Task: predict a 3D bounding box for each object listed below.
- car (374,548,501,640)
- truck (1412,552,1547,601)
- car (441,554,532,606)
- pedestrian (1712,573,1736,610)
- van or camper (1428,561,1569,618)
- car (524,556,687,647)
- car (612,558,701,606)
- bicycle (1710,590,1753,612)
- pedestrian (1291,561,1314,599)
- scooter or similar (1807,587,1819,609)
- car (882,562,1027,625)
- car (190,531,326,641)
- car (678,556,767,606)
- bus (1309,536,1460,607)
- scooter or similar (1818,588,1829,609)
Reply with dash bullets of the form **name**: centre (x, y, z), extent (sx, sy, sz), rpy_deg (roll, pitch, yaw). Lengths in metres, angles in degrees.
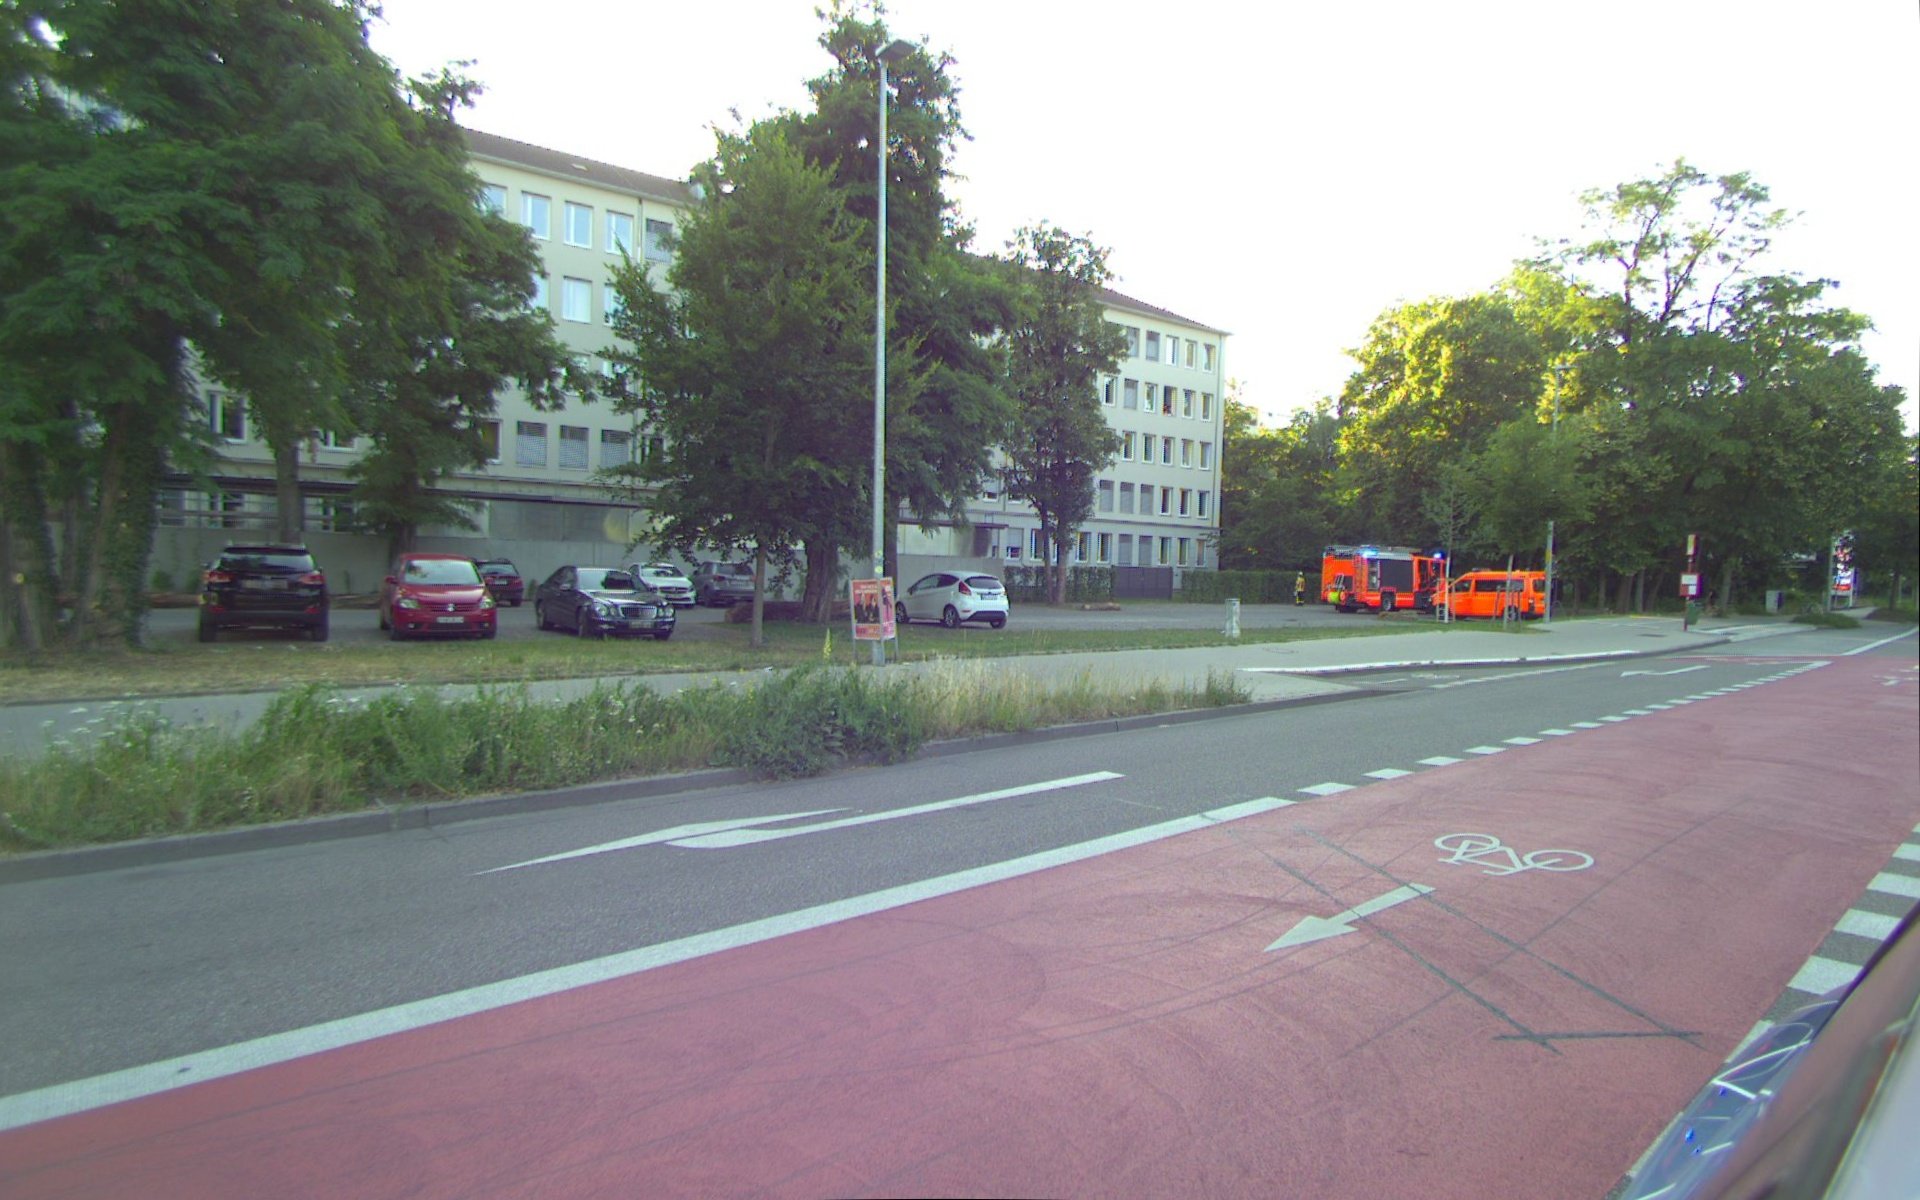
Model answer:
- **car**: centre (-10.158, -0.189, 19.526), extent (1.751, 1.580, 4.003), rpy_deg (0, 2, -34)
- **truck**: centre (36.632, -1.745, 71.858), extent (2.703, 3.250, 8.683), rpy_deg (1, 2, -24)
- **car**: centre (-14.472, -0.626, 30.845), extent (1.866, 1.460, 4.001), rpy_deg (0, 2, -35)
- **pedestrian**: centre (42.986, -0.469, 56.957), extent (0.712, 2.038, 0.695), rpy_deg (2, 2, 3)
- **van or camper**: centre (22.962, -0.480, 43.364), extent (2.251, 2.272, 4.830), rpy_deg (0, 1, -35)
- **car**: centre (-7.450, -0.080, 20.987), extent (1.866, 1.465, 4.584), rpy_deg (-2, 6, -37)
- **car**: centre (-10.153, -0.624, 33.704), extent (1.798, 1.494, 4.002), rpy_deg (0, 1, -33)
- **bicycle**: centre (43.474, 0.040, 57.067), extent (0.817, 1.111, 1.970), rpy_deg (1, 2, -2)
- **pedestrian**: centre (18.800, -1.089, 55.528), extent (0.810, 2.038, 0.774), rpy_deg (0, 2, -32)
- **scooter or similar**: centre (53.186, -0.120, 63.102), extent (0.482, 1.297, 1.213), rpy_deg (5, 3, 40)
- **car**: centre (-0.226, -0.213, 27.046), extent (1.876, 1.556, 3.999), rpy_deg (0, 2, -37)
- **car**: centre (-12.401, -0.273, 17.866), extent (1.802, 1.715, 3.910), rpy_deg (0, 1, -36)
- **car**: centre (-8.364, -0.690, 35.401), extent (1.875, 1.636, 4.004), rpy_deg (-1, 2, -32)
- **bus**: centre (20.895, -1.344, 49.616), extent (7.810, 3.236, 2.999), rpy_deg (0, 1, -34)
- **scooter or similar**: centre (54.790, -0.107, 64.212), extent (0.482, 1.297, 1.123), rpy_deg (5, 3, 40)
